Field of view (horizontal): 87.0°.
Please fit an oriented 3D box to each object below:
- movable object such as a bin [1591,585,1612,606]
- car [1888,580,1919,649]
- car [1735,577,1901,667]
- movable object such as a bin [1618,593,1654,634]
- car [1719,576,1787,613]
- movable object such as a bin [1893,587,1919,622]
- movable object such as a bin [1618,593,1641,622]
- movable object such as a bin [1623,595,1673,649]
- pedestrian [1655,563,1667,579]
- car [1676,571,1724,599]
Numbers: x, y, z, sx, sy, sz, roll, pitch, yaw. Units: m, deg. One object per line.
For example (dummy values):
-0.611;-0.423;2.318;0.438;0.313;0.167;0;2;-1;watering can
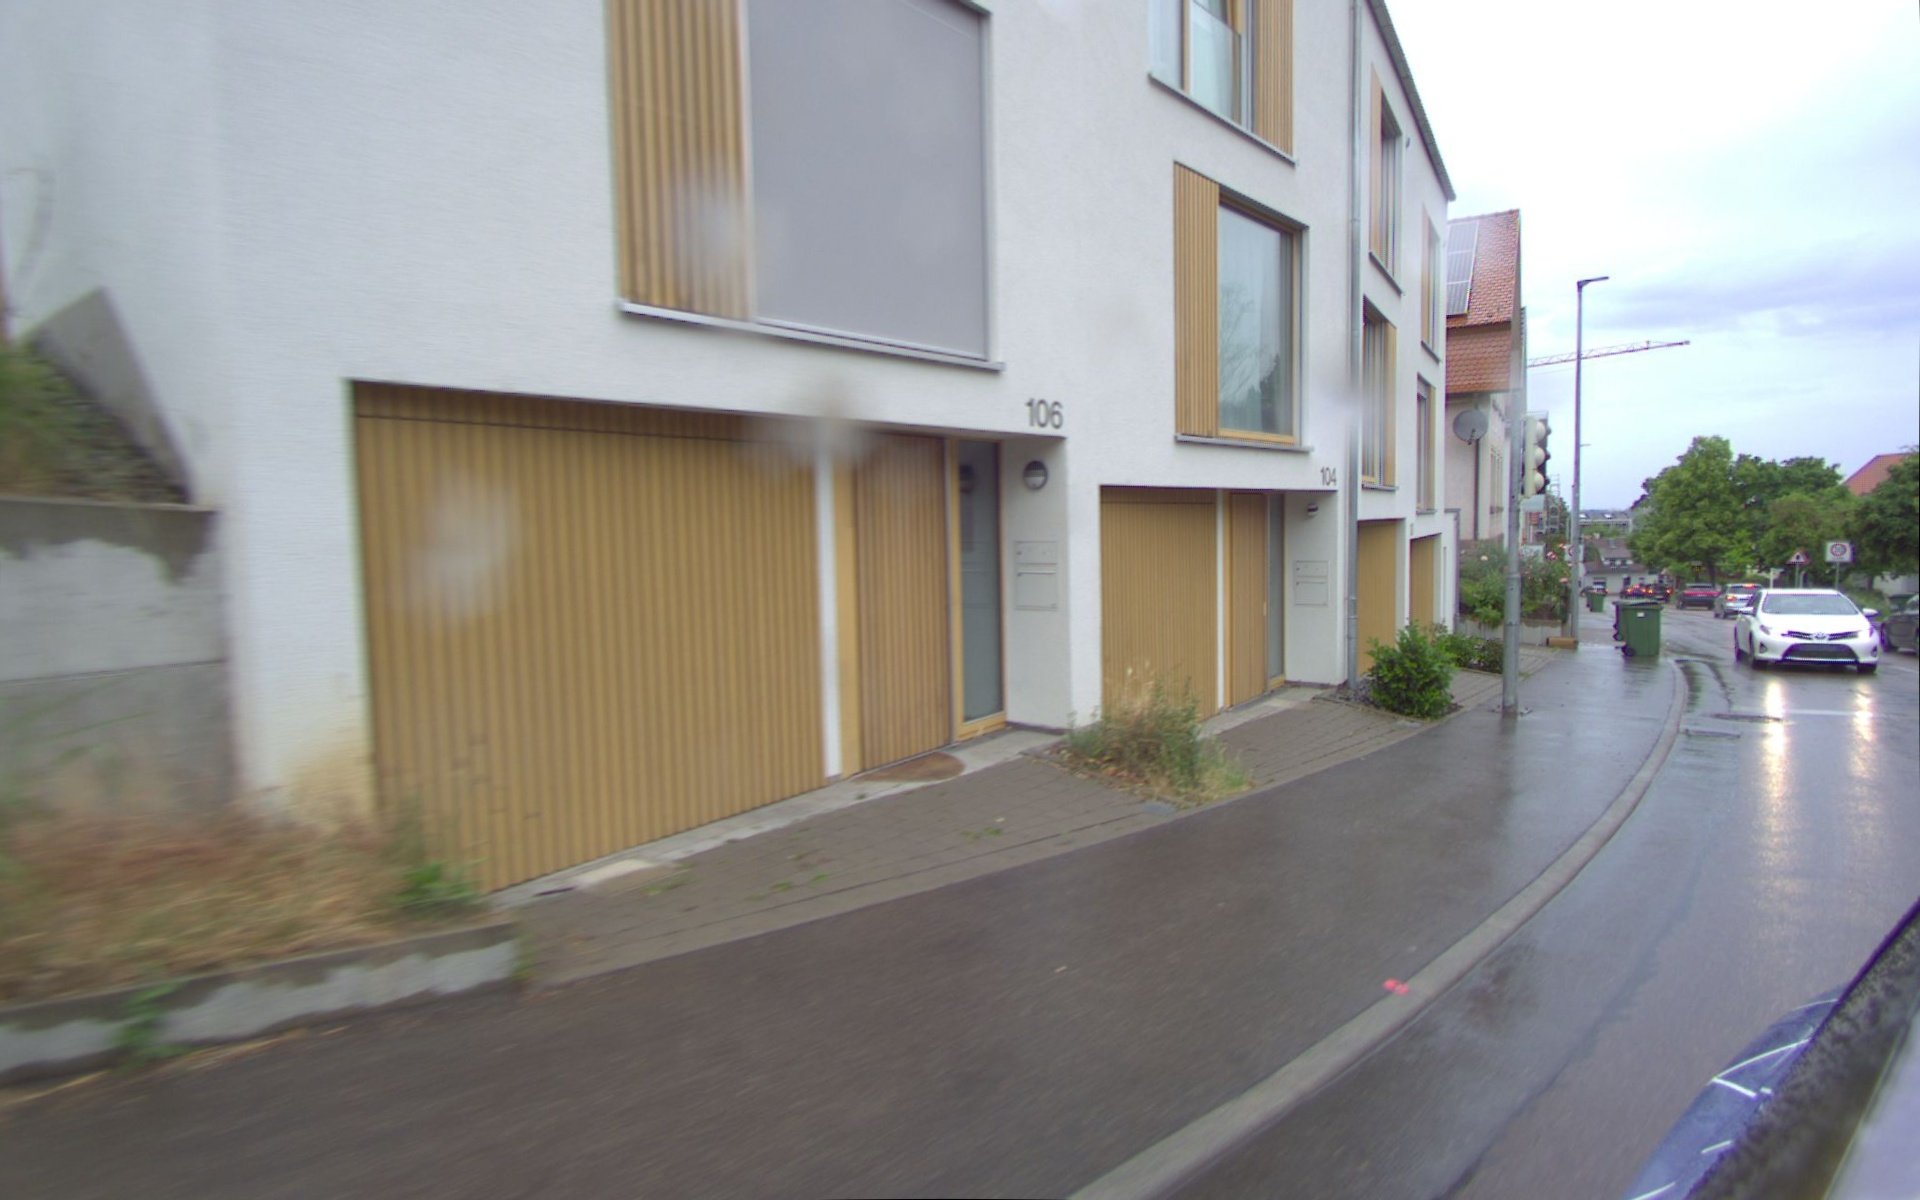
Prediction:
34.383;-0.262;54.253;0.910;1.117;0.693;0;0;34;movable object such as a bin
21.038;0.294;21.092;1.811;1.440;3.855;0;1;32;car
15.917;0.334;18.991;1.847;1.453;3.971;-1;1;33;car
18.224;0.353;27.313;0.793;1.084;0.752;0;0;34;movable object such as a bin
35.446;-0.254;45.322;1.794;1.573;3.790;0;1;29;car
30.926;0.129;32.894;0.717;1.114;0.749;-1;0;32;movable object such as a bin
22.169;0.242;33.519;0.627;0.908;0.704;0;1;32;movable object such as a bin
14.303;0.440;21.070;0.832;1.074;0.741;0;0;33;movable object such as a bin
80.570;-3.306;116.333;0.960;1.853;0.888;0;0;23;pedestrian
45.934;-0.916;62.904;1.908;1.644;4.317;0;0;30;car
